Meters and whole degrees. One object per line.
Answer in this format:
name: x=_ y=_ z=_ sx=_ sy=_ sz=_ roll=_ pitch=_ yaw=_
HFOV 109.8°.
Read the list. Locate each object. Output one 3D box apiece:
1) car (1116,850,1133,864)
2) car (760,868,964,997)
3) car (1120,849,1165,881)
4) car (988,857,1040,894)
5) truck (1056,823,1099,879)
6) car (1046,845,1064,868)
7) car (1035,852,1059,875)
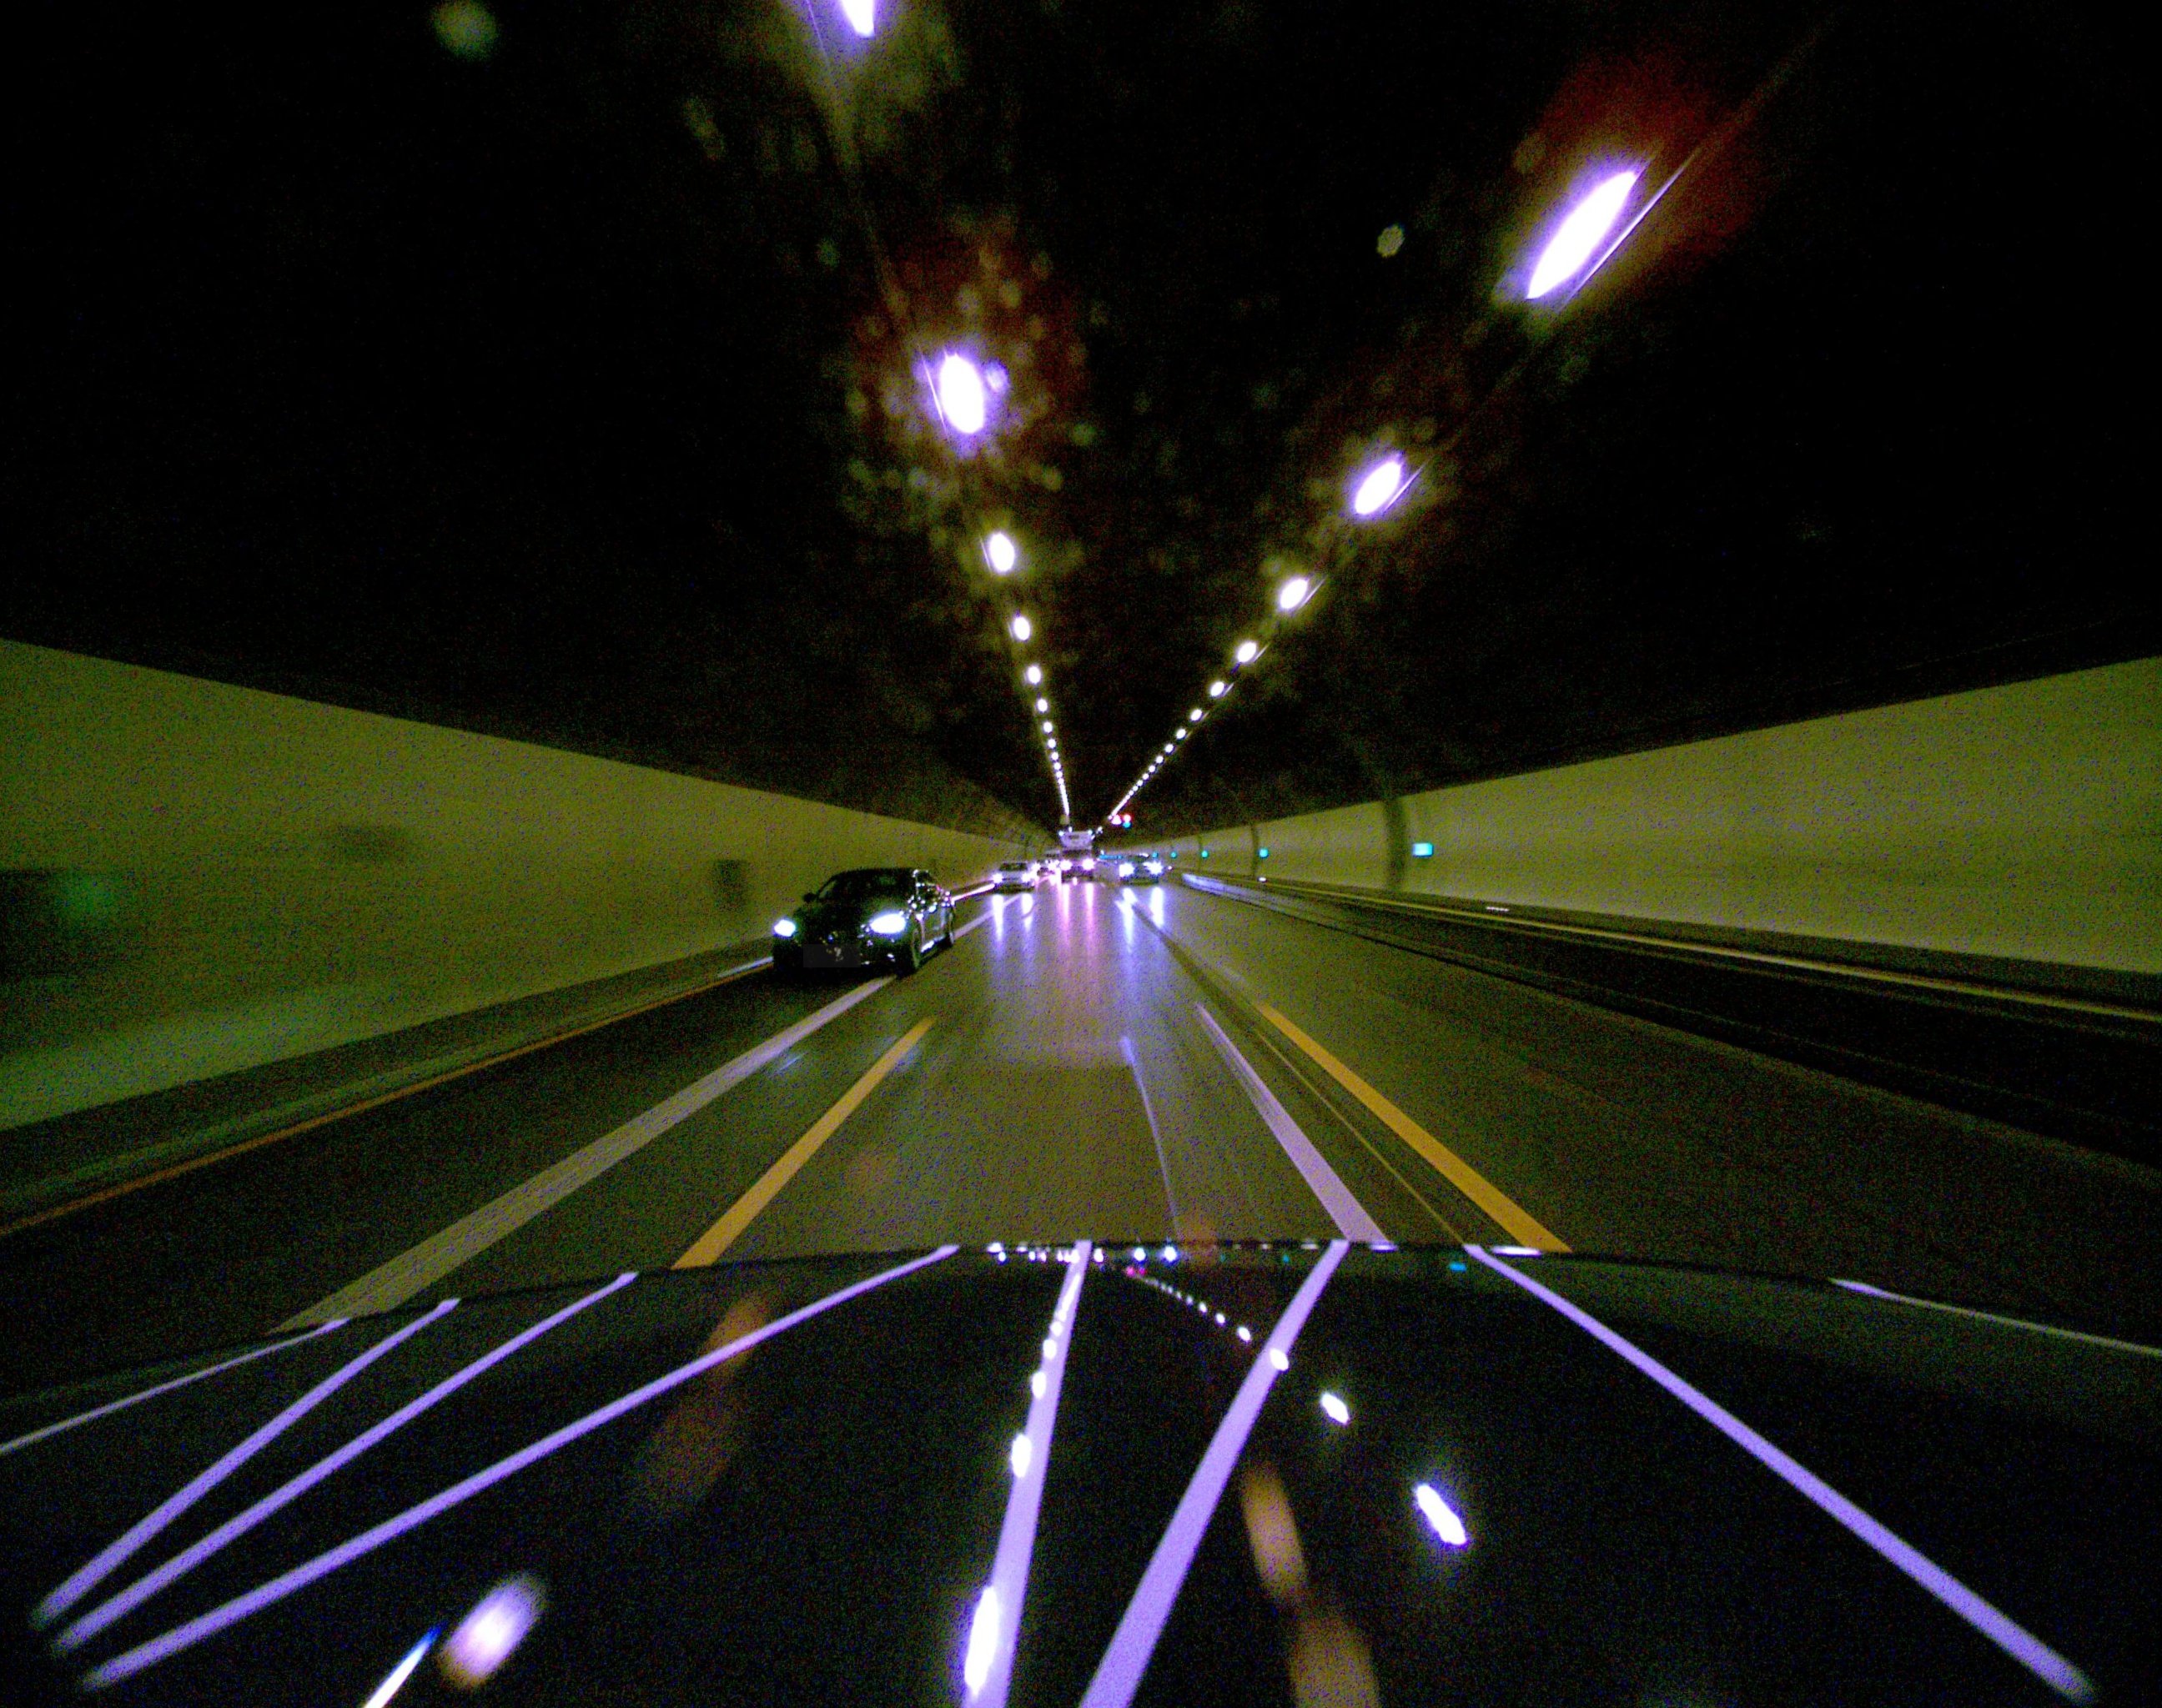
car: x=5.492 y=0.325 z=94.886 sx=1.998 sy=1.531 sz=4.851 roll=-2 pitch=1 yaw=4
car: x=-3.132 y=1.036 z=11.924 sx=1.825 sy=1.469 sz=4.521 roll=-2 pitch=0 yaw=0
car: x=3.237 y=0.526 z=40.778 sx=1.998 sy=1.531 sz=4.741 roll=-2 pitch=1 yaw=0
car: x=-3.165 y=0.968 z=36.696 sx=1.998 sy=1.531 sz=4.741 roll=-2 pitch=1 yaw=0
truck: x=-0.219 y=-0.205 z=50.416 sx=2.533 sy=3.314 sz=7.715 roll=-2 pitch=0 yaw=0
car: x=-3.182 y=0.224 z=94.072 sx=1.998 sy=2.710 sz=6.273 roll=-2 pitch=1 yaw=0
car: x=-3.097 y=0.828 z=70.455 sx=1.999 sy=2.002 sz=4.853 roll=-2 pitch=0 yaw=-1
